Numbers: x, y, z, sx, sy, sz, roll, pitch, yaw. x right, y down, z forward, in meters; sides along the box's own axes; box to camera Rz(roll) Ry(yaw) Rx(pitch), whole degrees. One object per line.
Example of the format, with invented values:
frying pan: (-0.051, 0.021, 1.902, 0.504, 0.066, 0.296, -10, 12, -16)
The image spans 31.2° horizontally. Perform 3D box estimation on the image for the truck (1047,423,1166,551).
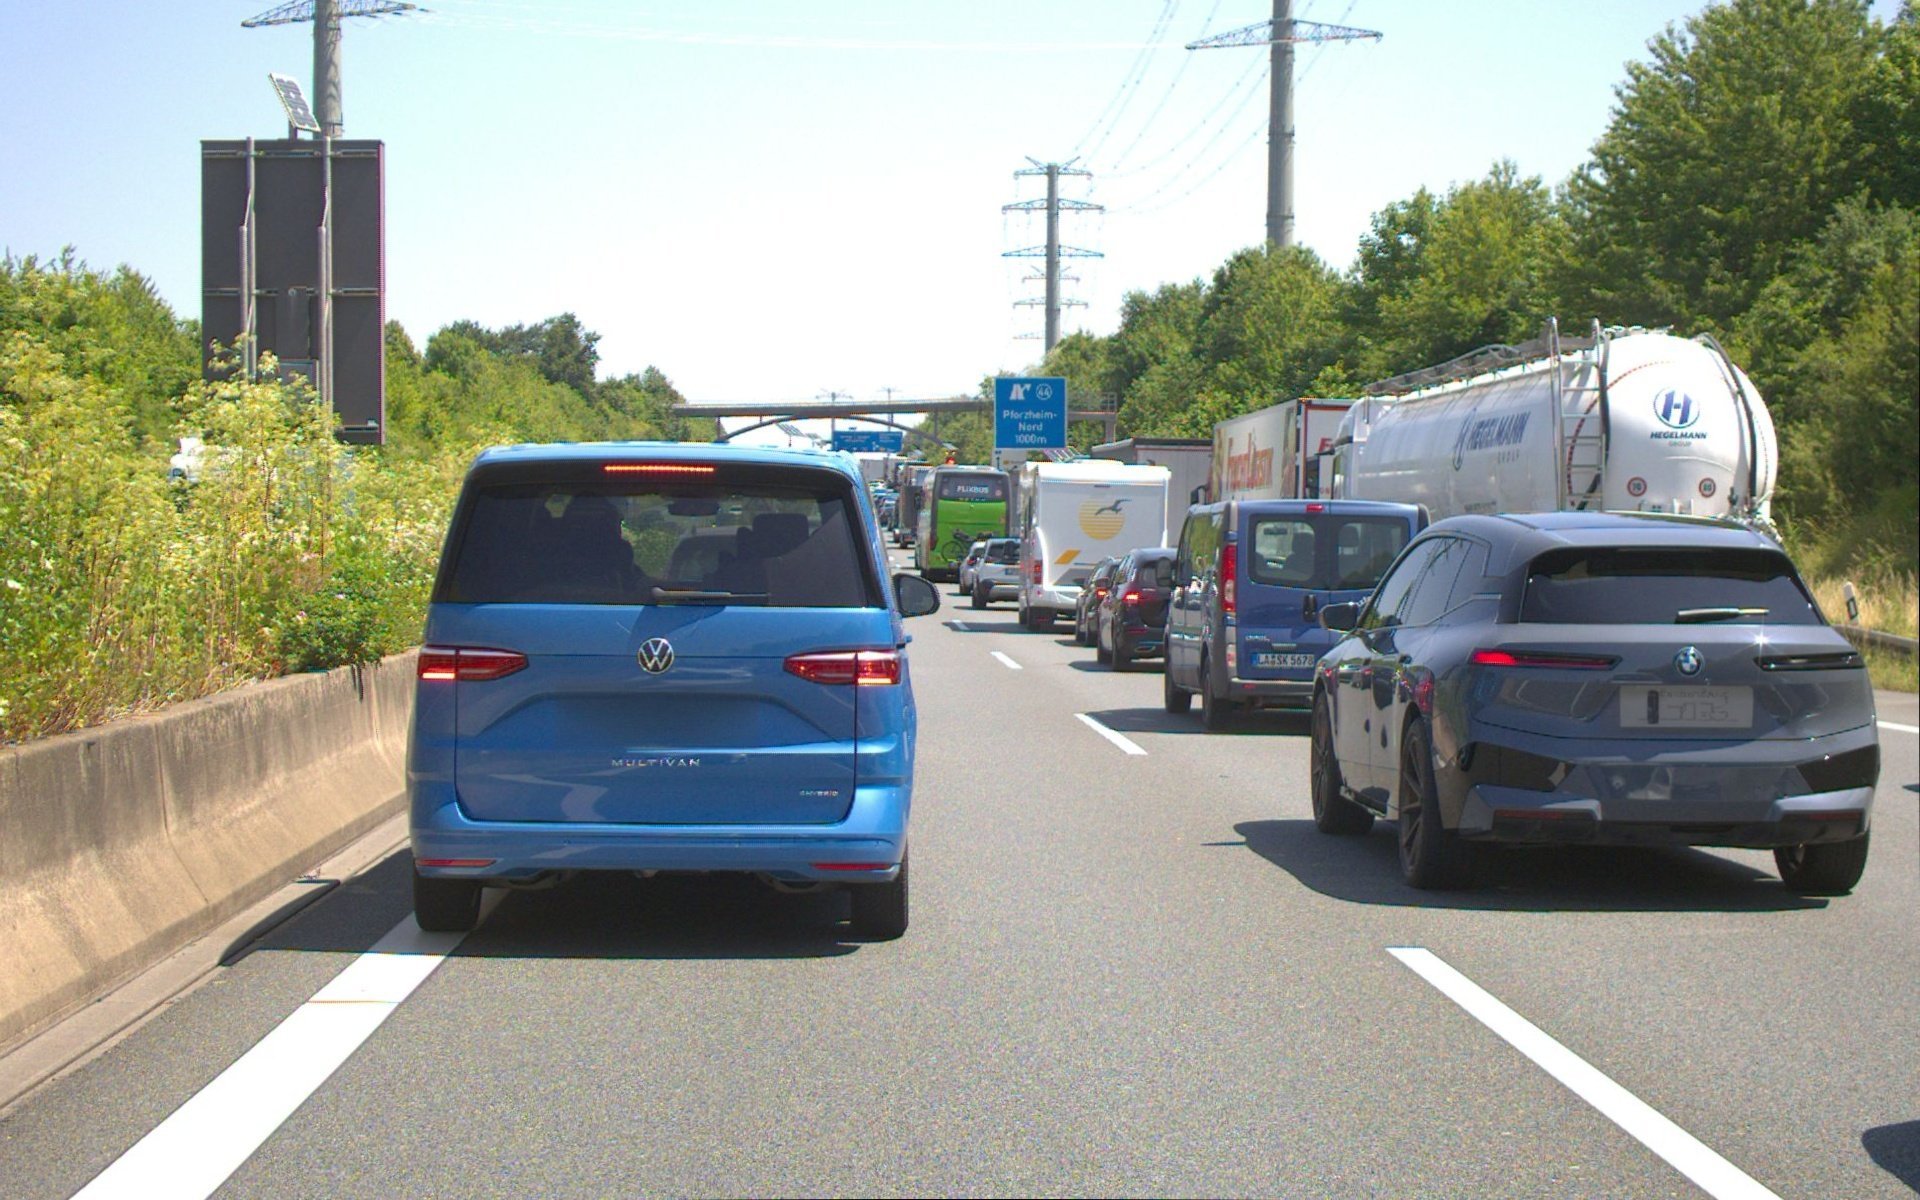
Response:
truck: (4.574, -3.489, 109.902, 2.895, 3.753, 13.346, 1, 1, -1)

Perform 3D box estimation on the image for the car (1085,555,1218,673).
car: (2.404, 0.159, 43.796, 1.360, 1.415, 3.885, -1, 0, -1)

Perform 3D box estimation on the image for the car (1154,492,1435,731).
car: (2.846, 0.084, 30.137, 1.923, 1.919, 4.236, -1, 0, -2)

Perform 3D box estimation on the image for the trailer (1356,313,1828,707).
trailer: (6.817, -0.955, 39.219, 2.761, 3.831, 11.487, 0, 1, -3)

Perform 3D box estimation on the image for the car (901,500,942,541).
car: (-2.008, -4.157, 180.217, 1.993, 2.118, 4.000, 1, 1, -3)

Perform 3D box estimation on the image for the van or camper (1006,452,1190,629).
van or camper: (2.418, -1.051, 62.498, 2.957, 3.011, 7.103, 1, 1, -1)

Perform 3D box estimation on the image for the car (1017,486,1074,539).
car: (3.310, -3.382, 133.759, 1.993, 2.007, 4.000, 1, 1, -2)

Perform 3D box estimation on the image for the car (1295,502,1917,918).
car: (2.882, 0.446, 16.449, 1.999, 1.709, 4.625, 0, 0, -1)

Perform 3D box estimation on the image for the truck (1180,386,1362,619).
truck: (6.112, -1.900, 68.288, 2.912, 4.453, 5.143, 0, 1, -3)

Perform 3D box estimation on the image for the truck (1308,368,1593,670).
truck: (6.493, -1.062, 46.282, 2.792, 3.823, 5.573, 0, 1, -3)

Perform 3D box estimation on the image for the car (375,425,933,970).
car: (-1.151, 0.309, 14.169, 1.920, 1.880, 4.001, 2, 1, -2)

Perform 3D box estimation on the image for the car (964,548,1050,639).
car: (1.033, -0.152, 77.728, 1.836, 1.991, 4.000, -1, 0, -1)

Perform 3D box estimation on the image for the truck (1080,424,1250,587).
truck: (5.037, -2.264, 87.752, 3.006, 3.753, 15.714, 1, 1, -1)

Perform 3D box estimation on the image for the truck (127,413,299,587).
truck: (-18.821, -2.464, 87.030, 3.011, 4.213, 6.686, 1, 0, -1)

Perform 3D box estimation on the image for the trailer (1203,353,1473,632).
trailer: (6.468, -1.811, 61.003, 2.912, 4.453, 12.156, 0, 1, -3)

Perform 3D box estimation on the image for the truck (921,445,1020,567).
truck: (0.274, -2.952, 111.304, 2.895, 3.753, 10.141, 1, 1, -1)

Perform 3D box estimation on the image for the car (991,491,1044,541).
car: (2.373, -3.483, 143.416, 1.993, 2.007, 4.000, 1, 1, -2)
